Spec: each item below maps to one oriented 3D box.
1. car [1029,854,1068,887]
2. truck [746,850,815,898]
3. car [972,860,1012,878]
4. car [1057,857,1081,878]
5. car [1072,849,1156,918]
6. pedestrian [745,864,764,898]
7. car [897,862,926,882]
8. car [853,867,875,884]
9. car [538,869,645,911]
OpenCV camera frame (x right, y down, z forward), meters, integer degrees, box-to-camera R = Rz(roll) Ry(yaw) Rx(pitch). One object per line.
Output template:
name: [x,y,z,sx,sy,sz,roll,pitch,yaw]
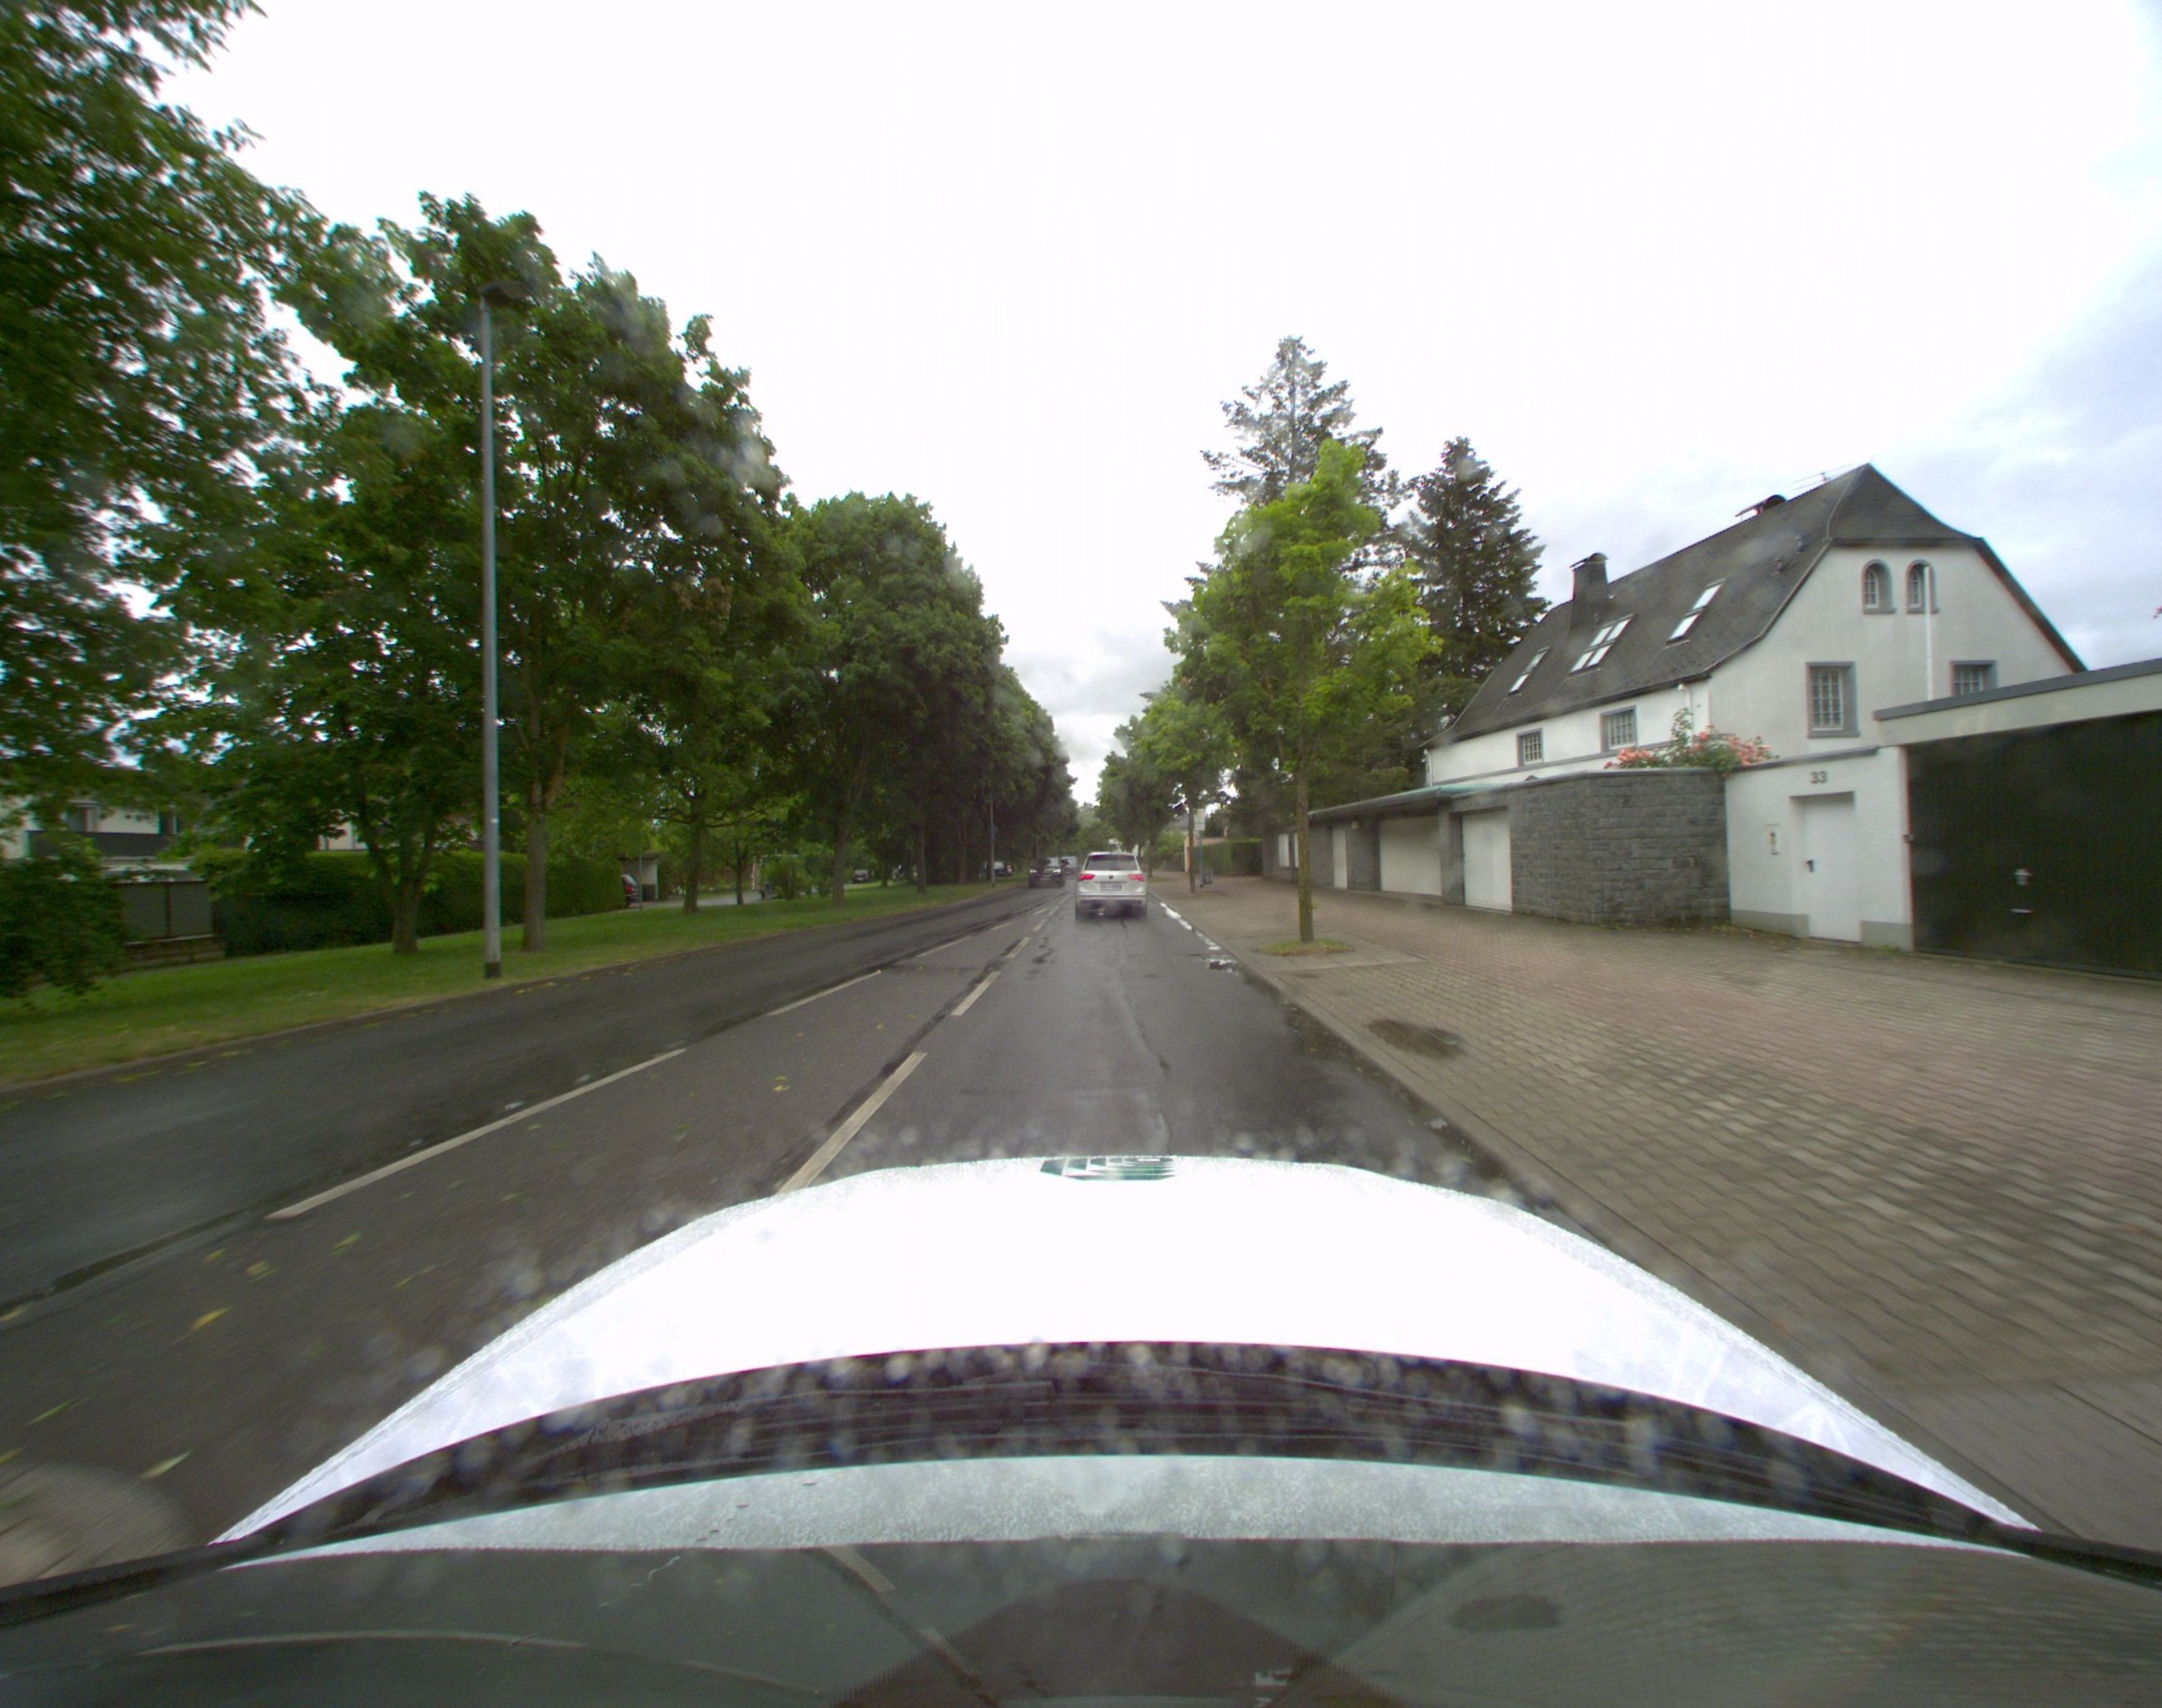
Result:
car: [-1.696,0.848,43.703,1.808,1.648,4.000,-1,0,1]
truck: [-17.840,1.148,48.680,2.281,2.597,5.864,-2,0,-5]
car: [-7.657,1.312,69.760,1.854,1.482,3.958,-2,-1,-33]
car: [-0.925,1.061,66.372,1.749,1.648,4.001,-1,0,2]
car: [0.769,0.708,21.571,1.991,1.632,3.999,-1,0,-1]
pedestrian: [-18.149,1.514,45.295,0.708,1.841,0.823,-2,0,-4]
car: [-14.045,1.486,67.255,1.846,1.482,3.975,-2,0,-18]
car: [-20.925,2.044,78.561,1.476,1.530,3.107,-2,0,-6]
car: [-23.613,1.701,39.418,3.986,1.816,1.874,-2,-1,-9]
